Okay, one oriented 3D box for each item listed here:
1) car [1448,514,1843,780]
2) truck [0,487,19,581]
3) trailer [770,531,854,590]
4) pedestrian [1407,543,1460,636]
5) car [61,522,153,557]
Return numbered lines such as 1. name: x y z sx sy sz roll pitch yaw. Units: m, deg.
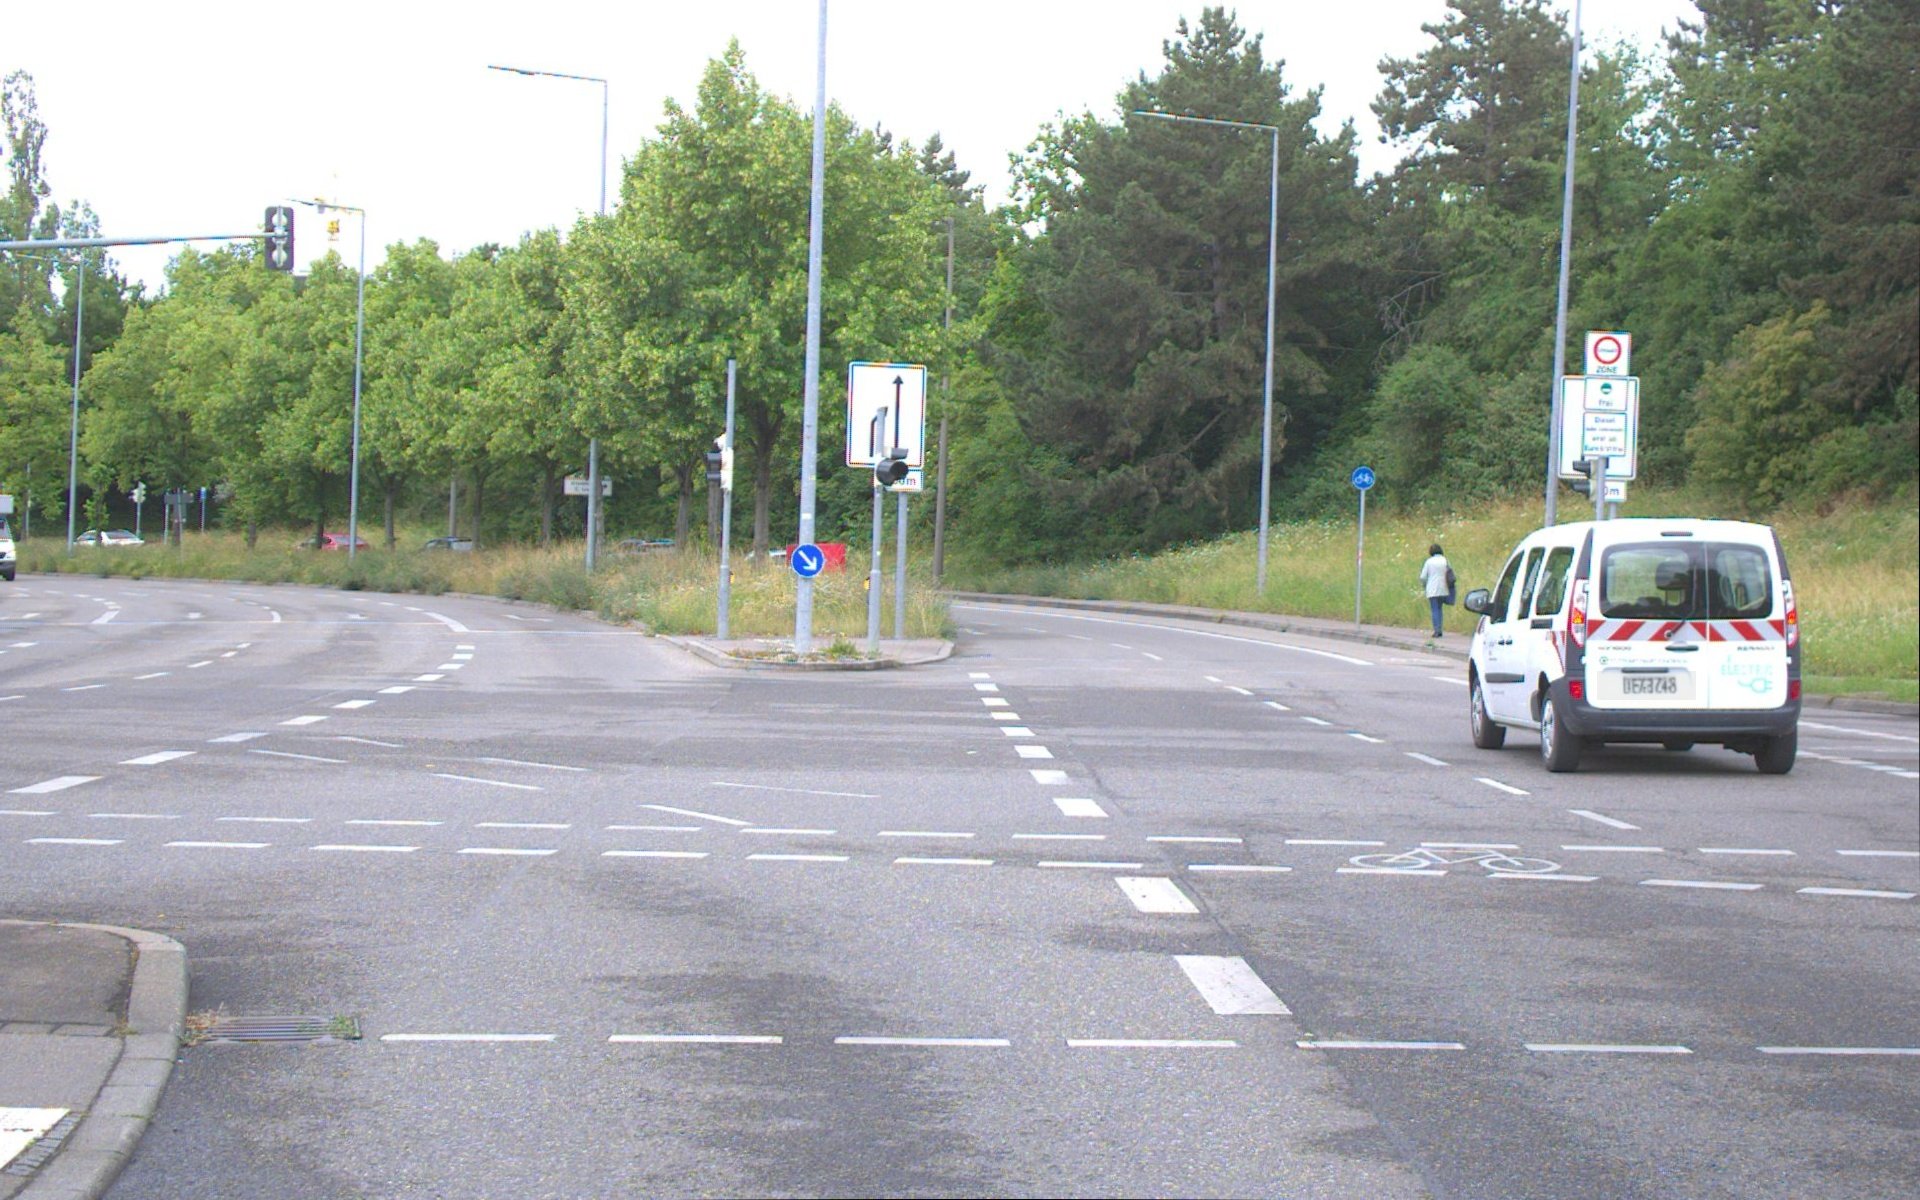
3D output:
1. car: 5.000 0.299 25.772 1.994 1.796 4.839 0 0 0
2. truck: -33.317 -2.227 116.064 2.115 3.124 5.901 1 1 -24
3. trailer: -4.254 -1.138 98.308 1.764 1.610 3.045 0 1 -15
4. pedestrian: 8.414 -0.186 61.101 0.814 1.622 0.791 1 1 -1
5. car: -36.805 -2.610 148.317 4.456 1.416 1.779 2 2 44
